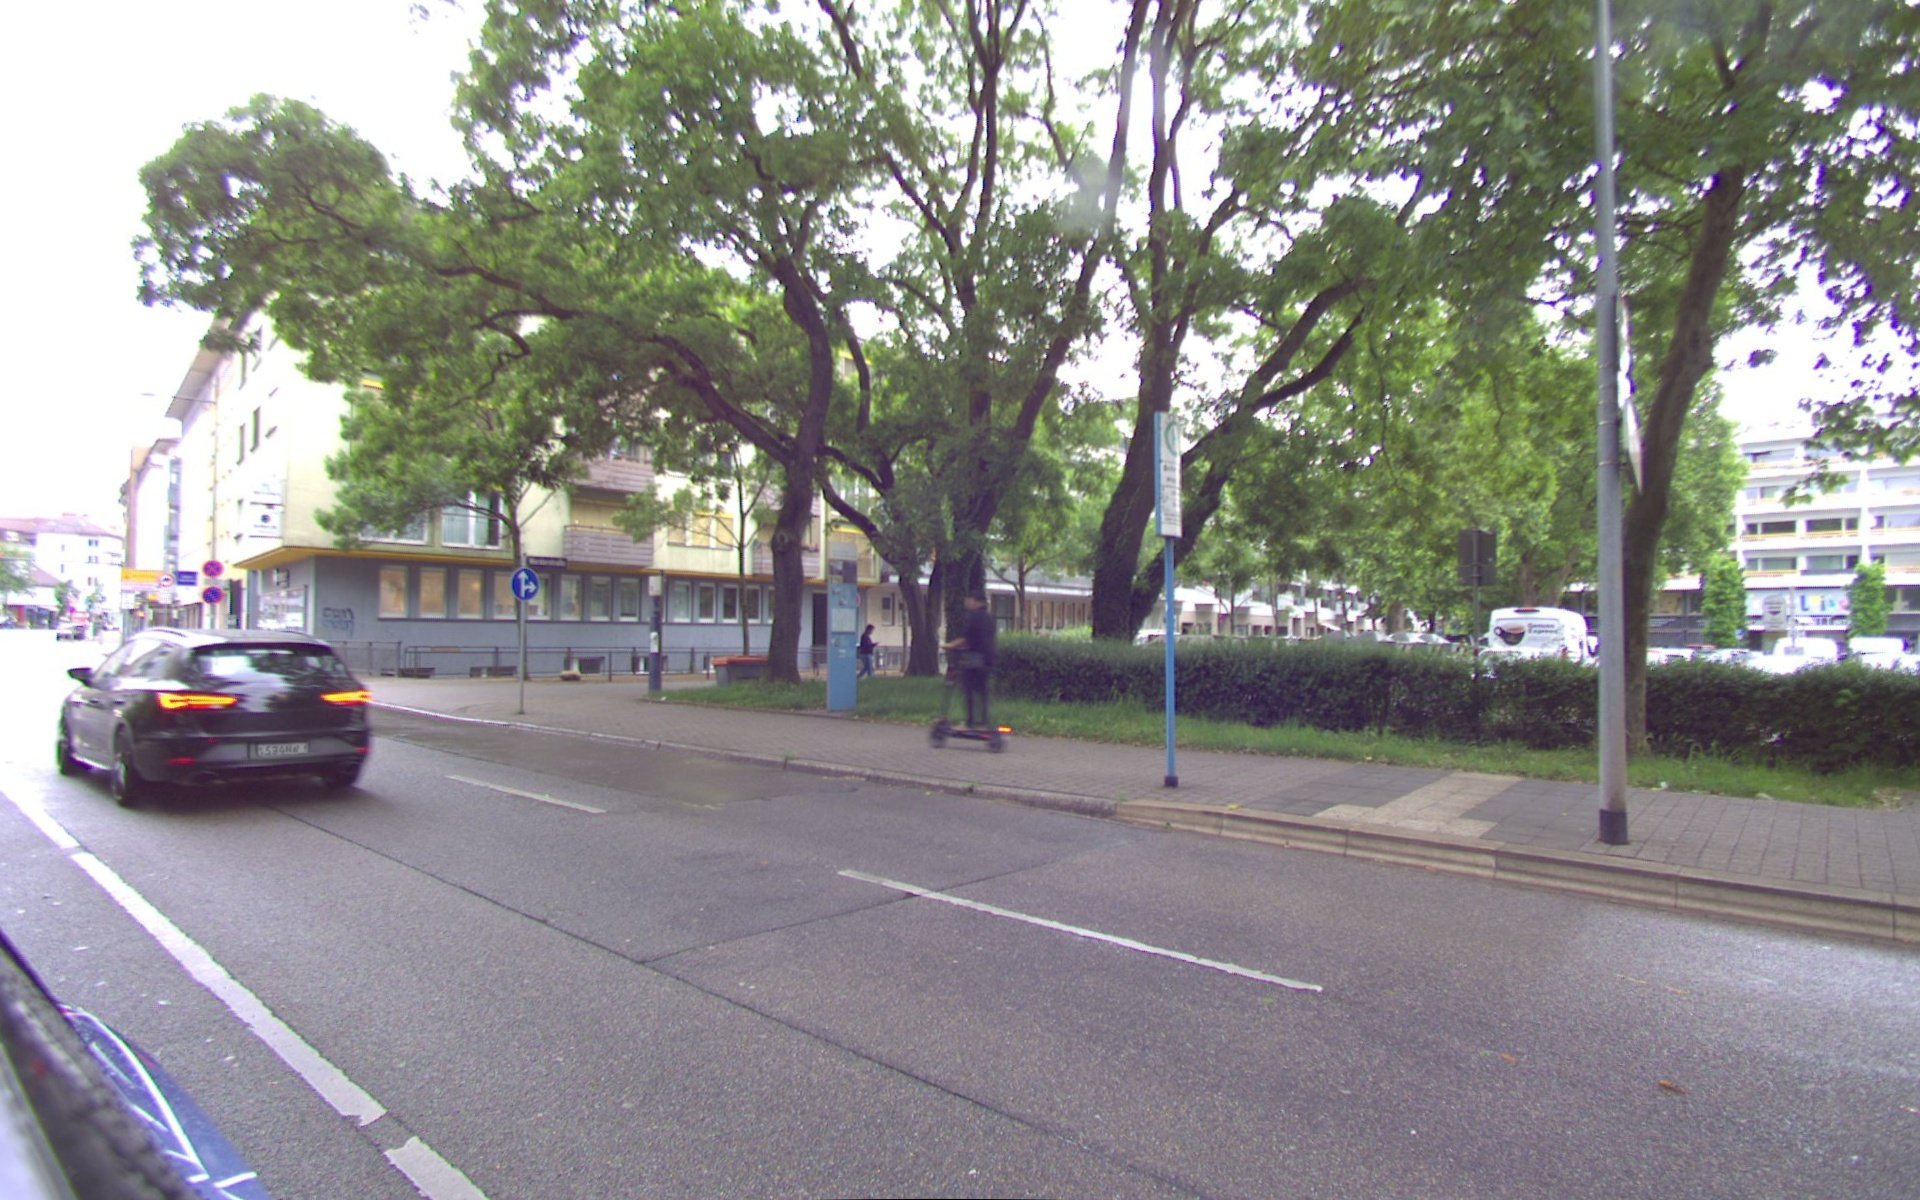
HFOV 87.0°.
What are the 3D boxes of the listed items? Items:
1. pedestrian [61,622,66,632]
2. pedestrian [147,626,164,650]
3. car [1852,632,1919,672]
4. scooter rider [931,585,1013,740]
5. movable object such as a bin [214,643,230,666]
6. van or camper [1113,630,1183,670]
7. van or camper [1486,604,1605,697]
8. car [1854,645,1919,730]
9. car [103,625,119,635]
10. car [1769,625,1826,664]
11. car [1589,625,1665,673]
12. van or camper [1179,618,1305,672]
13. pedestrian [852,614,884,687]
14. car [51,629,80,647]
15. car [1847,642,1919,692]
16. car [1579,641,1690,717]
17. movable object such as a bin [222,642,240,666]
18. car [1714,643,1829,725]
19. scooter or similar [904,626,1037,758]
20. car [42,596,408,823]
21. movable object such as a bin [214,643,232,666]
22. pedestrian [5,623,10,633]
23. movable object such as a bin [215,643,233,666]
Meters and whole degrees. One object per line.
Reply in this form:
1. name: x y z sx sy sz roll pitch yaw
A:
1. pedestrian: -117.374 3.517 132.444 0.380 1.301 0.394 -2 -3 41
2. pedestrian: -53.589 2.512 67.384 0.773 1.600 0.675 -1 -1 -29
3. car: 40.306 2.229 44.157 1.895 1.497 3.948 -1 0 39
4. scooter rider: 0.143 0.725 12.130 0.645 1.779 0.725 0 -1 42
5. movable object such as a bin: -31.193 2.304 42.775 0.458 0.935 0.429 -3 1 -42
6. van or camper: 10.373 2.746 55.601 1.825 2.029 4.576 1 -2 38
7. van or camper: 16.922 1.427 29.171 2.099 2.450 4.280 -2 -3 42
8. car: 20.490 1.812 21.605 1.895 1.497 3.948 -1 0 39
9. car: -127.223 4.533 151.609 1.567 1.539 3.496 2 -3 -36
10. car: 41.875 2.191 50.679 2.097 1.735 3.948 -1 0 39
11. car: 24.038 1.727 36.439 1.895 1.497 3.948 -1 0 39
12. van or camper: 13.971 2.171 49.594 2.561 2.420 8.535 -2 -3 41
13. pedestrian: -2.571 1.404 28.281 0.769 2.029 0.754 1 -2 -14
14. car: -82.249 3.504 93.127 1.807 1.634 4.007 2 -3 -39
15. car: 33.340 2.364 36.460 1.895 1.497 3.948 -1 0 39
16. car: 16.714 1.874 24.998 1.895 1.497 3.948 -1 0 39
17. movable object such as a bin: -30.021 2.224 41.665 0.522 0.968 0.435 -3 1 -42
18. car: 18.593 1.843 23.214 1.895 1.497 3.948 -1 0 39
19. scooter or similar: 0.118 1.059 12.134 1.397 1.457 0.806 0 -2 41
20. car: -6.932 0.876 9.387 4.135 1.638 1.826 -2 -4 41
21. movable object such as a bin: -30.842 2.277 42.340 0.521 0.935 0.426 -3 1 -42
22. pedestrian: -122.660 3.615 130.372 0.394 1.301 0.381 2 -3 -40
23. movable object such as a bin: -30.517 2.268 41.976 0.522 0.902 0.435 -3 1 -42
